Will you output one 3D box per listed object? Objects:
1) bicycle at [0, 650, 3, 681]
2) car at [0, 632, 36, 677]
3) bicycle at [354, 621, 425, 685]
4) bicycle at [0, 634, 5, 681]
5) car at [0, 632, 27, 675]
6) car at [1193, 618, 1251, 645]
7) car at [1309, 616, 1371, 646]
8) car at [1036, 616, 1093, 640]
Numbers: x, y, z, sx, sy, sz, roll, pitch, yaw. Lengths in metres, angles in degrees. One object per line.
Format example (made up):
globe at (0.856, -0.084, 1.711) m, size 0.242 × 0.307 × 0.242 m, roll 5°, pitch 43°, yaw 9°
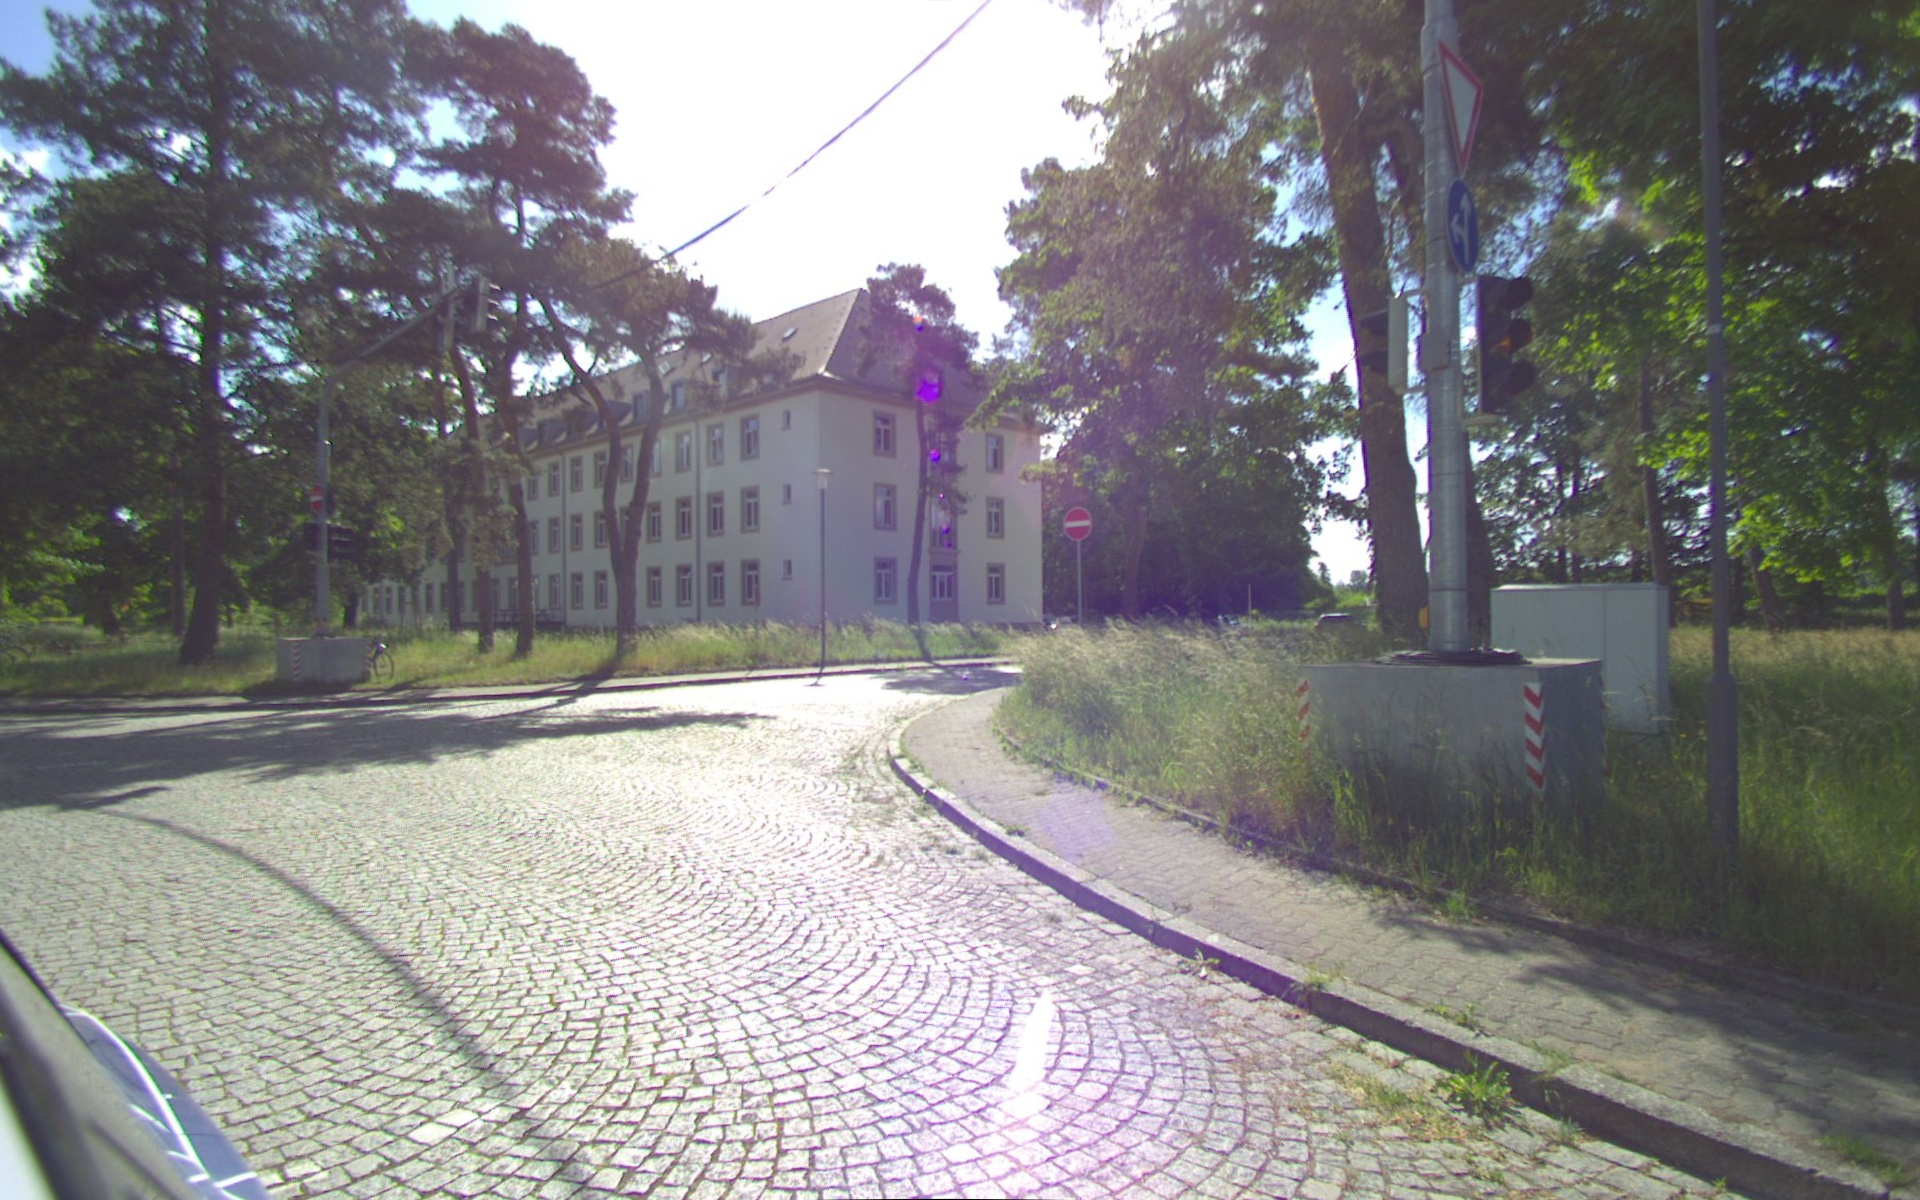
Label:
bicycle at (-25.856, 1.547, 25.725) m, size 0.621 × 1.293 × 2.088 m, roll -1°, pitch 4°, yaw 39°
car at (-34.144, 1.866, 34.193) m, size 1.813 × 1.513 × 3.998 m, roll -1°, pitch -2°, yaw 34°
bicycle at (-12.388, 1.141, 21.947) m, size 2.113 × 1.293 × 0.613 m, roll -2°, pitch 1°, yaw 41°
bicycle at (-27.366, 1.622, 27.411) m, size 0.620 × 1.293 × 2.090 m, roll -1°, pitch 0°, yaw 35°
car at (-36.349, 1.948, 36.262) m, size 1.813 × 1.534 × 3.998 m, roll -1°, pitch -2°, yaw 34°
car at (16.270, 1.948, 62.729) m, size 1.720 × 1.593 × 4.049 m, roll -1°, pitch -2°, yaw 44°
car at (21.498, 1.746, 57.190) m, size 1.841 × 1.642 × 4.001 m, roll -2°, pitch -2°, yaw 44°
car at (7.303, 1.933, 70.706) m, size 4.046 × 1.593 × 1.722 m, roll 1°, pitch -2°, yaw -43°
